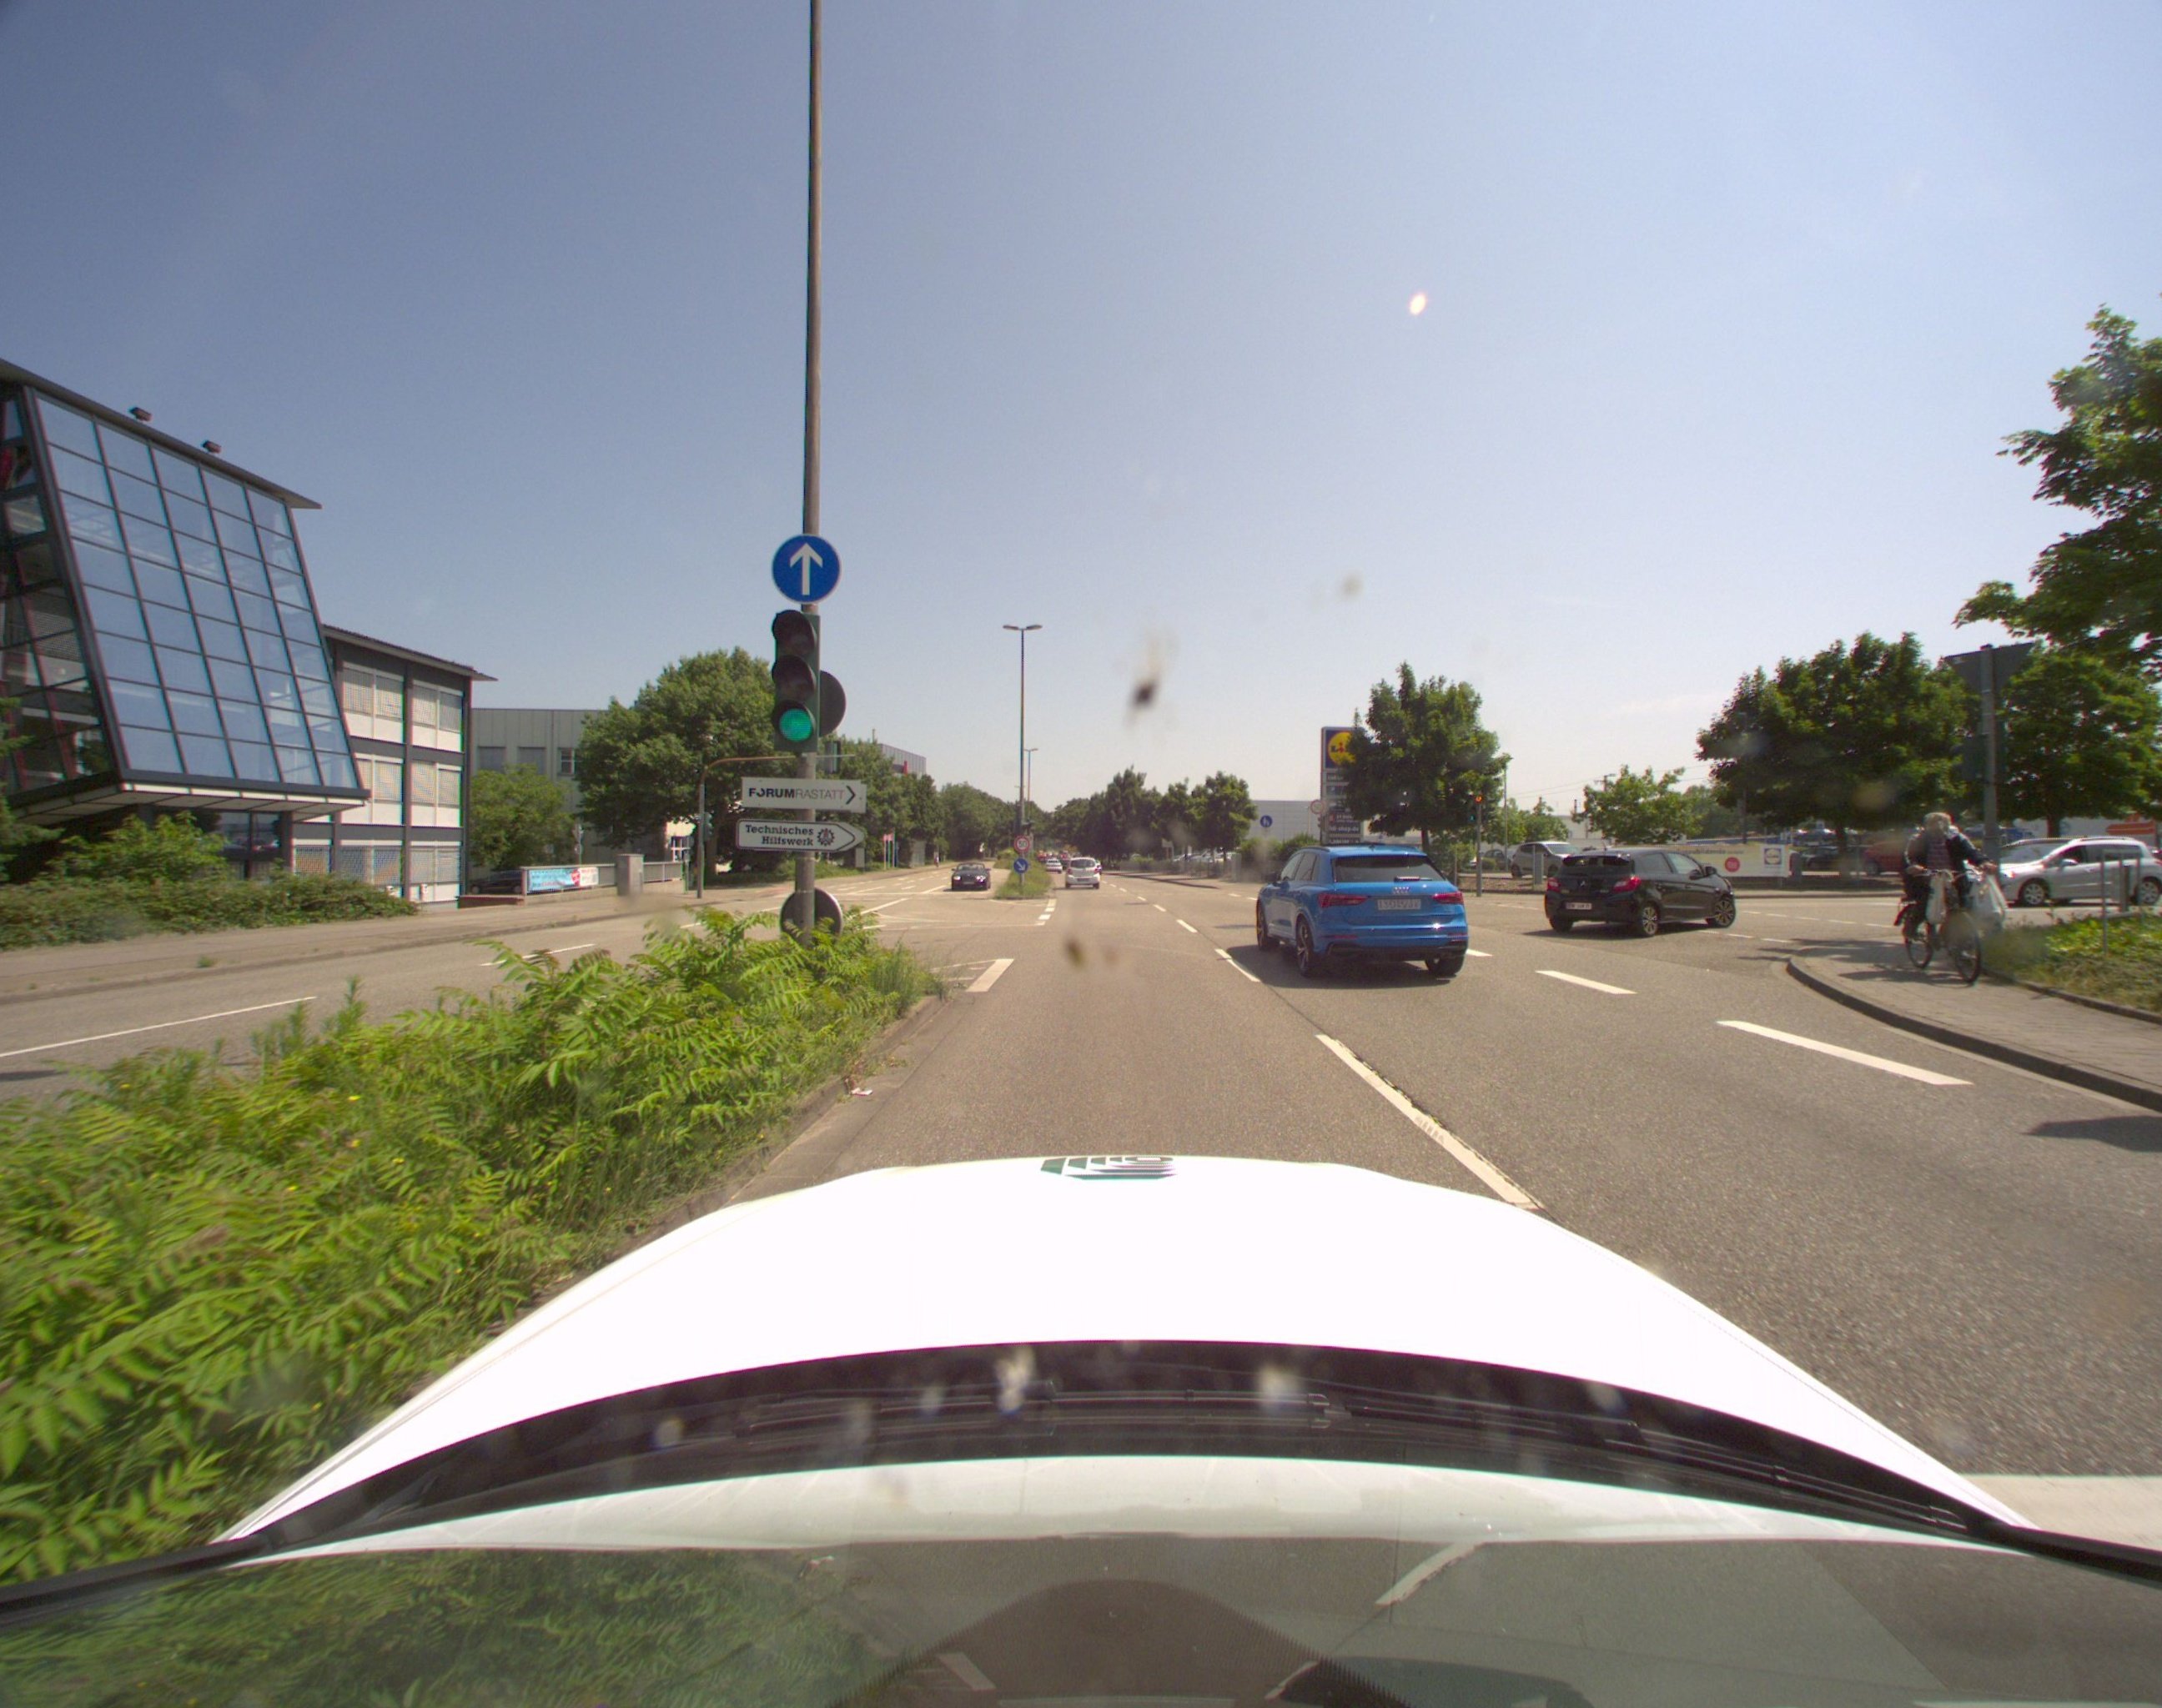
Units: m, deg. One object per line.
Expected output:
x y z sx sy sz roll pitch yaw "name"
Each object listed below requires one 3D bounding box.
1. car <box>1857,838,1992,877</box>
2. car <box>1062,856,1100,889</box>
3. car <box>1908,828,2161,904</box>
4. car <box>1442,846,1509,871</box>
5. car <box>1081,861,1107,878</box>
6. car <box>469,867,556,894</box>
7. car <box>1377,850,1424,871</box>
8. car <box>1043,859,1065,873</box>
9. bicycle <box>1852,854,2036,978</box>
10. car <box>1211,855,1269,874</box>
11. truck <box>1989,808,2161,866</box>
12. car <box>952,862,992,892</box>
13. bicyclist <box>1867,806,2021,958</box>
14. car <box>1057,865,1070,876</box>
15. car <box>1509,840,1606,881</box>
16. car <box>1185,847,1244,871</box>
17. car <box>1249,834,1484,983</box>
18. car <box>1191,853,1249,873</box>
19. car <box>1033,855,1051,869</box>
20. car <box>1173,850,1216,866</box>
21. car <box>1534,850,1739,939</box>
33.738 0.135 32.706 1.700 1.448 3.416 -1 0 -9 "car"
-0.052 0.895 40.459 1.635 1.552 3.320 -1 -1 -4 "car"
22.295 0.275 18.968 4.233 1.618 1.807 -1 -1 0 "car"
23.119 0.297 47.851 1.732 1.394 4.073 -1 -1 -4 "car"
1.199 1.440 77.477 1.864 1.473 3.990 2 -1 -7 "car"
-35.702 1.658 51.221 3.977 1.596 1.918 1 -1 -2 "car"
22.723 0.434 58.036 1.619 1.394 3.711 -1 0 -4 "car"
-2.762 1.226 82.237 1.882 1.354 3.991 2 -1 -6 "car"
8.958 0.593 8.564 0.750 1.133 1.919 1 -1 28 "bicycle"
11.987 0.769 61.465 3.989 1.421 1.695 0 0 -5 "car"
72.964 -1.115 59.004 2.843 3.838 10.024 -1 0 -2 "truck"
-5.290 1.088 39.808 1.726 1.323 4.142 -1 0 -5 "car"
8.947 0.268 8.502 0.767 1.464 1.097 1 -1 26 "bicyclist"
-2.367 2.171 109.315 1.439 1.348 3.453 -1 0 -5 "car"
18.202 0.217 31.268 1.417 1.438 3.528 -2 0 -5 "car"
11.261 0.412 68.729 4.608 1.924 1.824 0 0 -5 "car"
3.557 0.595 11.042 1.801 1.593 4.352 -1 0 2 "car"
11.226 0.715 66.031 4.356 1.593 1.825 0 0 -3 "car"
-4.664 0.971 96.349 1.882 1.608 3.992 -1 0 -6 "car"
11.455 0.433 82.398 3.985 1.596 1.821 1 -1 -9 "car"
9.872 0.645 14.442 3.440 1.401 1.606 0 0 -28 "car"
